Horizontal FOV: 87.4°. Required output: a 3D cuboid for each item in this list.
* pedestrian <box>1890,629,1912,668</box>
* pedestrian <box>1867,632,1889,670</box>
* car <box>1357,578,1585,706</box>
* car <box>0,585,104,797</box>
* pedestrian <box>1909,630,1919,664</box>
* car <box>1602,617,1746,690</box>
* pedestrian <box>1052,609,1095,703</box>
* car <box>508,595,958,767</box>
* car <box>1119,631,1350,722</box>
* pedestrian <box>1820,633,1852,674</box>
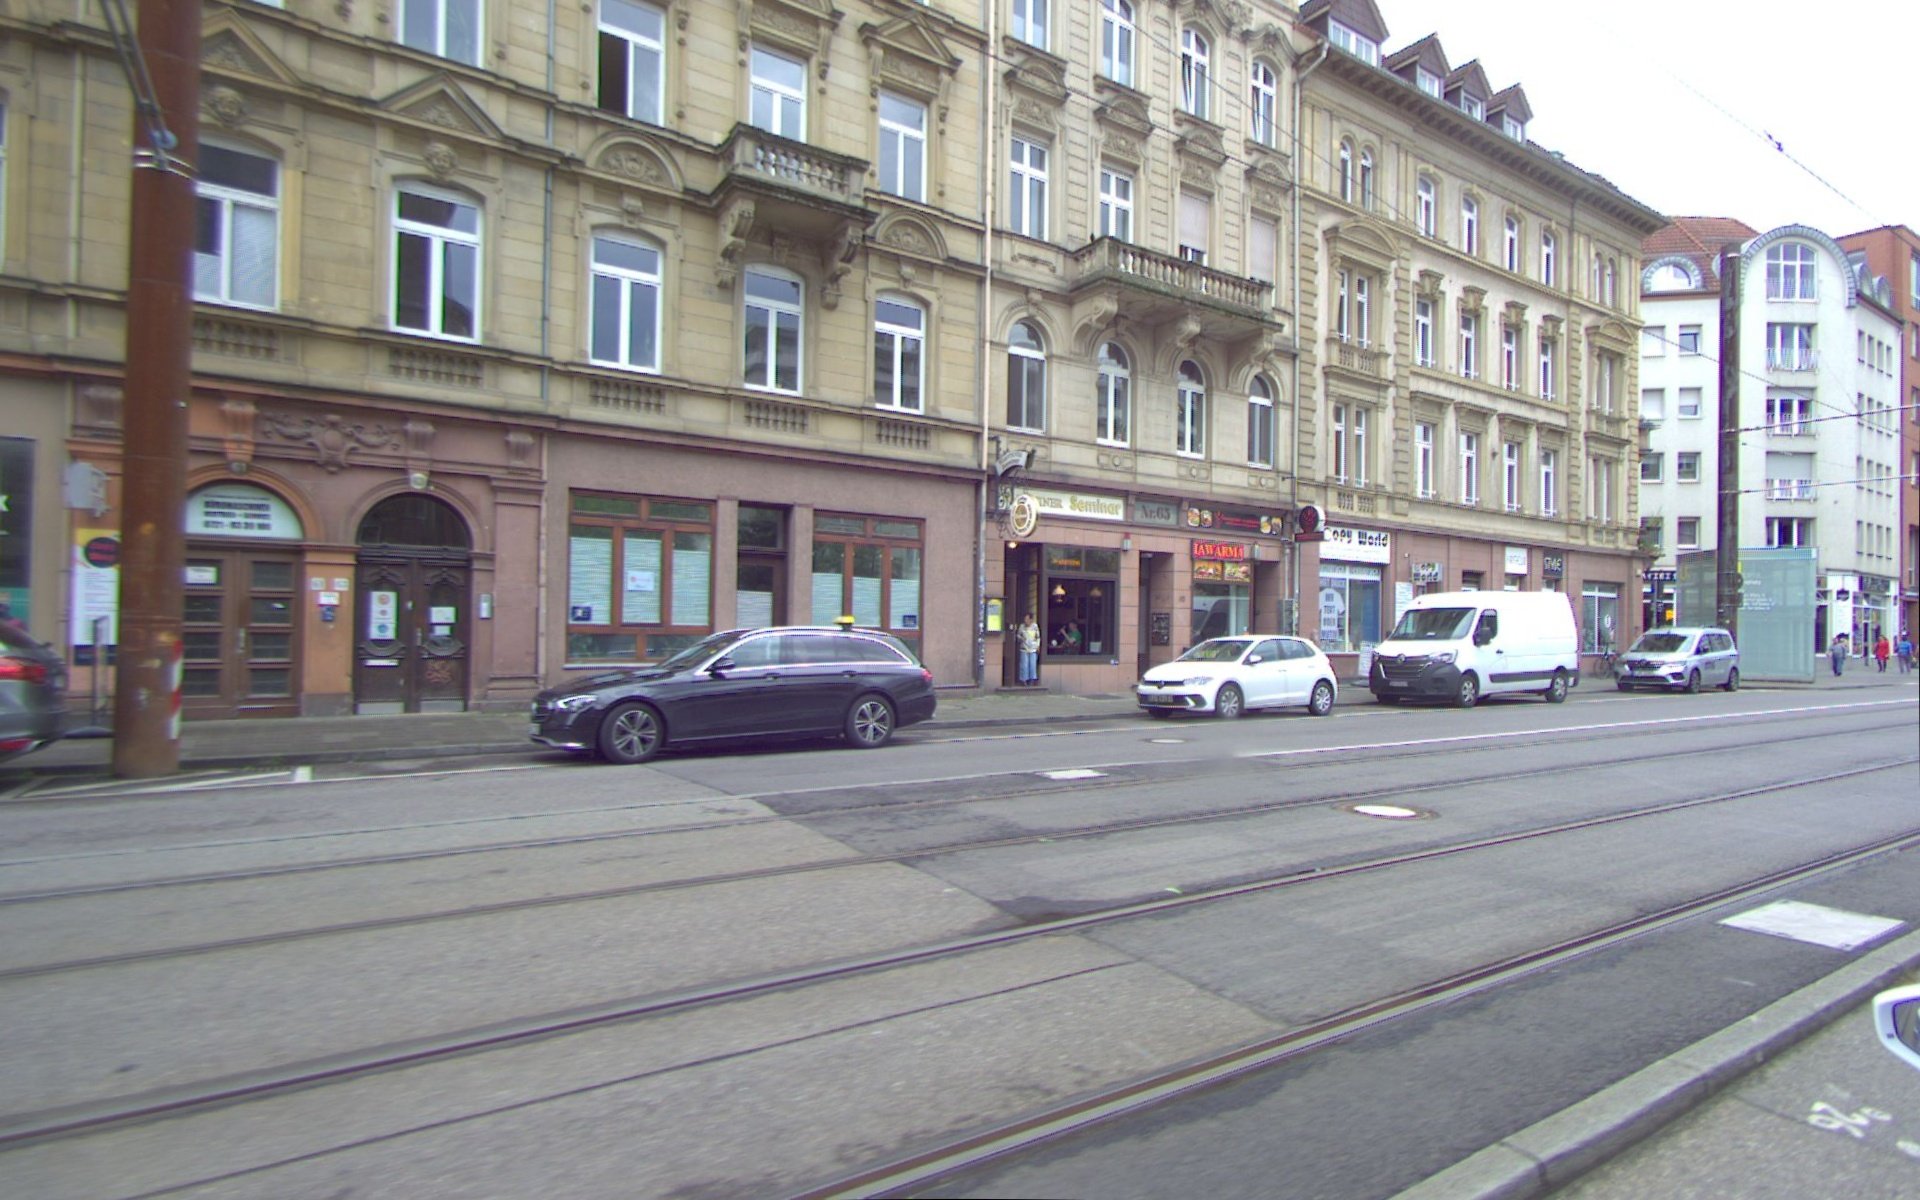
[{"bbox_3d":[42.220,2.180,45.066,0.717,1.709,0.654,4,-3,-42],"label":"pedestrian"},{"bbox_3d":[41.855,2.310,45.802,0.658,1.709,0.713,4,-3,-43],"label":"pedestrian"},{"bbox_3d":[11.401,0.960,22.253,5.609,2.519,2.040,2,-4,-35],"label":"car"},{"bbox_3d":[-9.932,0.718,7.669,4.984,1.712,1.801,2,-3,-36],"label":"car"},{"bbox_3d":[48.935,2.392,51.126,0.859,1.709,0.658,0,-3,42],"label":"pedestrian"},{"bbox_3d":[20.022,1.501,28.114,4.475,1.889,1.891,2,-4,-35],"label":"car"},{"bbox_3d":[2.543,1.226,22.443,0.696,2.040,0.747,1,-1,26],"label":"pedestrian"},{"bbox_3d":[-2.611,0.933,12.219,5.002,1.711,1.907,2,-4,-35],"label":"car"},{"bbox_3d":[4.944,1.332,17.926,4.123,1.441,1.760,2,-4,-35],"label":"car"},{"bbox_3d":[38.197,2.328,43.801,0.811,1.709,0.721,2,-2,-14],"label":"pedestrian"}]
